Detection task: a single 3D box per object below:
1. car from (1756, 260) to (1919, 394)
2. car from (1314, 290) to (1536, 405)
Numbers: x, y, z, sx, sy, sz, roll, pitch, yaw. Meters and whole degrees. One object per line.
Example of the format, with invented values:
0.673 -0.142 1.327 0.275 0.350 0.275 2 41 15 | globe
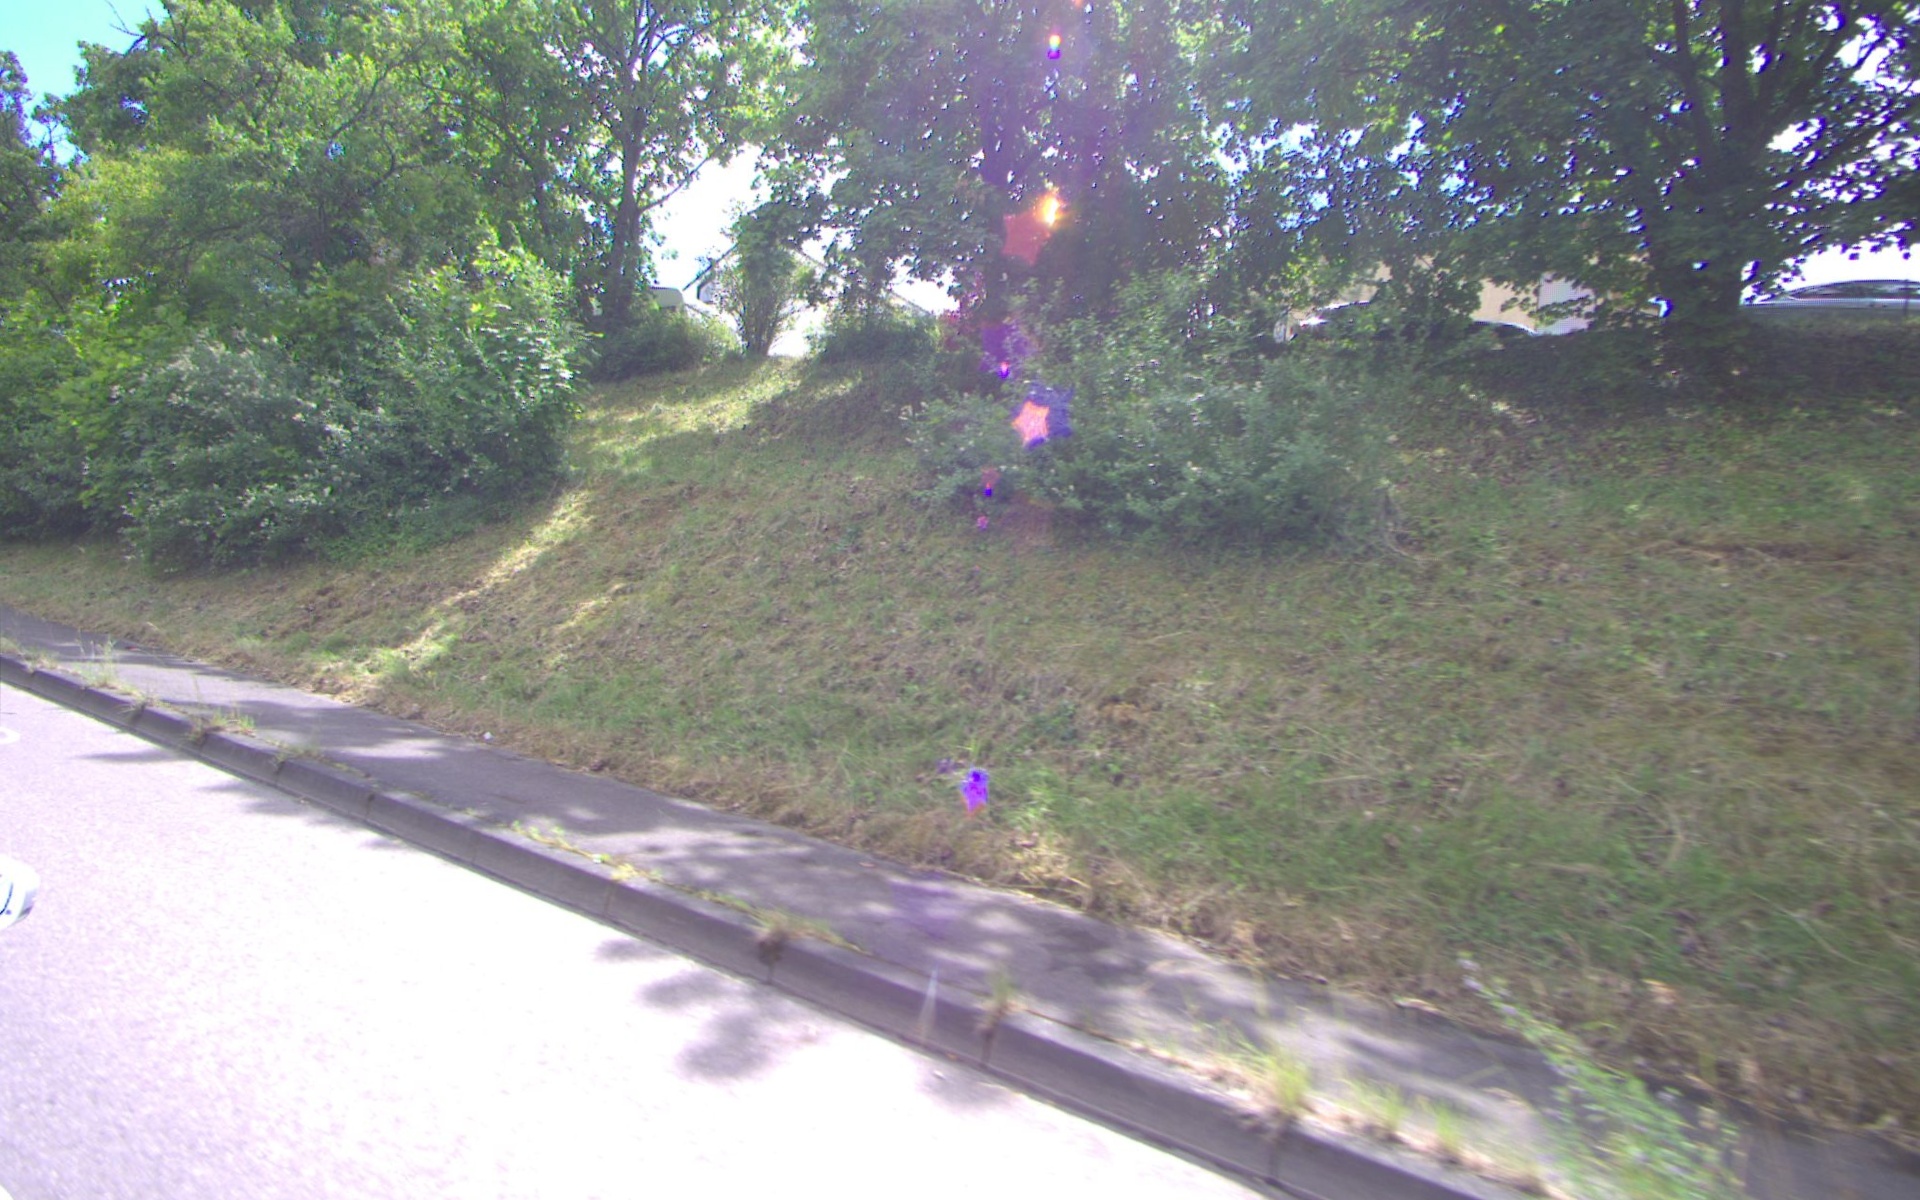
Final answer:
13.722 -3.903 14.457 3.277 1.459 1.452 7 -2 31 | car
8.160 -4.365 17.728 3.278 1.459 1.452 6 -2 32 | car
